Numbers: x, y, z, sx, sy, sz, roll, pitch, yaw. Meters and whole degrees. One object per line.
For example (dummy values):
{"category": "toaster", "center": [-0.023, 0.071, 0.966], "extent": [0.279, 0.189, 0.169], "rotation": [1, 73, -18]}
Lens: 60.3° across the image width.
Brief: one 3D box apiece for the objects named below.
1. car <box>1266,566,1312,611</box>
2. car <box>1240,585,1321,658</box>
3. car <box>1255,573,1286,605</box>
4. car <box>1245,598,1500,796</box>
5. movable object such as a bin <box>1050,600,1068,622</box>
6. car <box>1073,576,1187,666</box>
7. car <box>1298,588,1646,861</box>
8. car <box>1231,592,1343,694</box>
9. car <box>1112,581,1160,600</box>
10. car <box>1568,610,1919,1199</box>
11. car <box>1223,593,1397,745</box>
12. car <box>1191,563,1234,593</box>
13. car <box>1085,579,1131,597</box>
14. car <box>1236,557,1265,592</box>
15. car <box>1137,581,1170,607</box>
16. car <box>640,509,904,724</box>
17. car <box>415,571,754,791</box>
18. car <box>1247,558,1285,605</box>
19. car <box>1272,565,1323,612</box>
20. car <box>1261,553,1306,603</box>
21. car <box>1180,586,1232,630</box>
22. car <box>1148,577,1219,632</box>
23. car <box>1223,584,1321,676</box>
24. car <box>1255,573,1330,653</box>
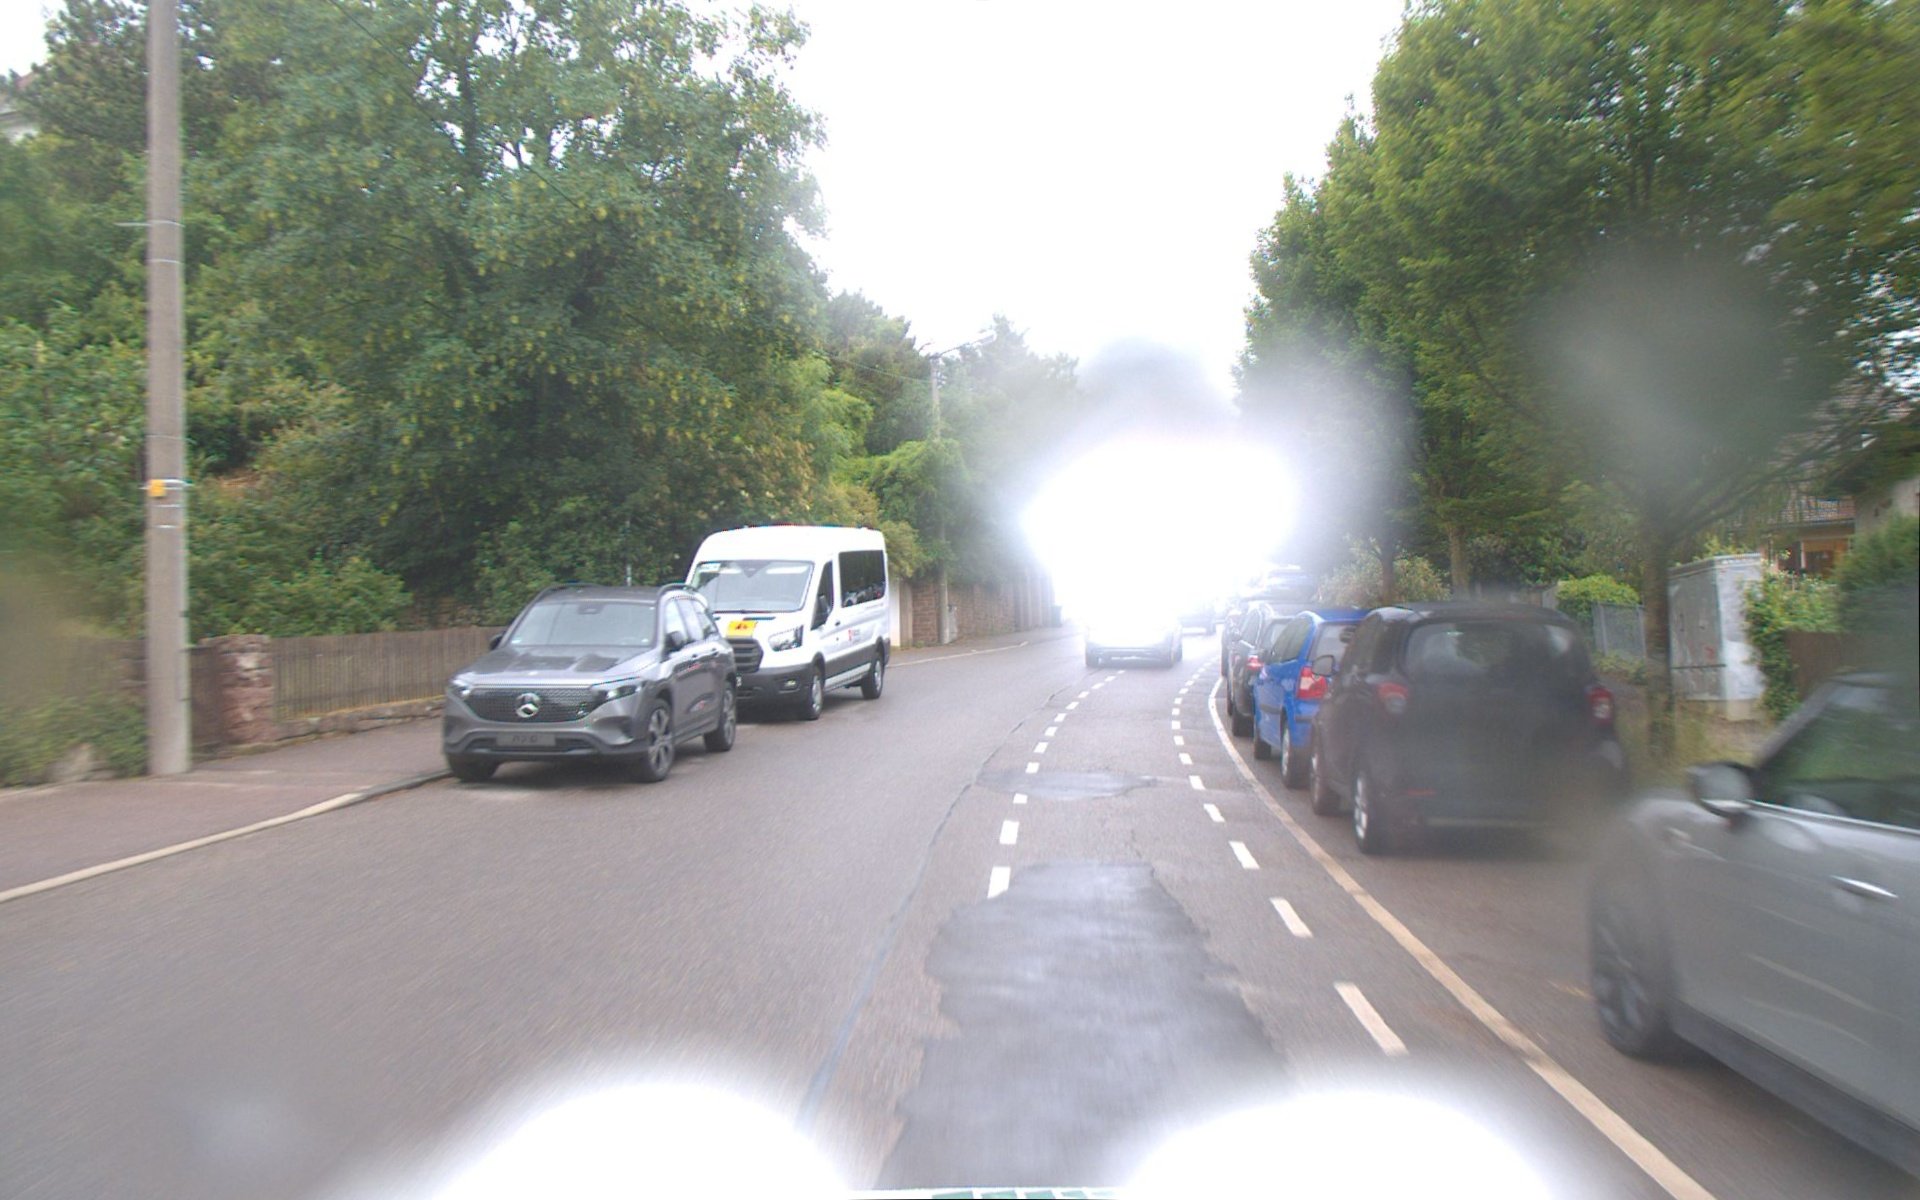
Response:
{"category": "car", "center": [15.987, -0.554, 80.581], "extent": [1.951, 2.088, 5.126], "rotation": [0, 0, 8]}
{"category": "car", "center": [7.188, 0.432, 36.890], "extent": [1.613, 1.507, 4.023], "rotation": [0, 1, 13]}
{"category": "car", "center": [18.925, -0.695, 100.942], "extent": [1.690, 1.816, 4.279], "rotation": [2, 1, 9]}
{"category": "car", "center": [3.650, 0.773, 15.260], "extent": [1.619, 1.546, 4.002], "rotation": [1, 0, 4]}
{"category": "movable object such as a bin", "center": [4.299, 0.482, 71.802], "extent": [0.644, 0.935, 0.678], "rotation": [-1, 0, 11]}
{"category": "car", "center": [3.570, 0.423, 34.168], "extent": [1.982, 1.738, 4.219], "rotation": [0, 0, 11]}
{"category": "car", "center": [3.322, 0.728, 11.261], "extent": [1.592, 1.590, 3.024], "rotation": [0, 0, 3]}
{"category": "car", "center": [5.183, 0.625, 26.613], "extent": [1.608, 1.449, 4.291], "rotation": [1, 1, 9]}
{"category": "car", "center": [16.781, -0.897, 158.012], "extent": [1.953, 1.727, 4.430], "rotation": [0, 1, -40]}
{"category": "car", "center": [3.130, 0.805, 4.548], "extent": [1.634, 1.497, 3.711], "rotation": [1, 0, 2]}
{"category": "car", "center": [4.147, 0.730, 20.207], "extent": [1.738, 1.580, 4.732], "rotation": [1, 1, 8]}
{"category": "car", "center": [22.286, -1.930, 146.063], "extent": [2.091, 2.571, 4.477], "rotation": [0, 1, -16]}
{"category": "car", "center": [14.404, -1.180, 161.226], "extent": [1.949, 1.727, 4.609], "rotation": [0, 1, -37]}
{"category": "car", "center": [21.523, -1.869, 122.703], "extent": [2.020, 2.538, 4.764], "rotation": [1, 1, 8]}
{"category": "car", "center": [11.129, -0.357, 94.935], "extent": [1.711, 1.381, 4.429], "rotation": [-3, 1, 7]}
{"category": "car", "center": [-2.405, 0.161, 23.180], "extent": [2.049, 2.594, 6.103], "rotation": [-1, 1, 9]}
{"category": "car", "center": [-3.288, 0.640, 15.468], "extent": [1.856, 1.721, 4.547], "rotation": [-1, 0, 3]}
{"category": "car", "center": [19.807, -1.218, 107.105], "extent": [2.079, 2.937, 5.774], "rotation": [1, 1, 7]}
{"category": "car", "center": [13.718, -0.486, 67.490], "extent": [1.742, 1.814, 4.683], "rotation": [-1, 1, 8]}
{"category": "car", "center": [17.182, -1.196, 88.073], "extent": [2.127, 2.536, 6.039], "rotation": [1, 1, 9]}
{"category": "car", "center": [10.052, 0.315, 67.365], "extent": [1.951, 1.738, 4.003], "rotation": [0, 0, 10]}
{"category": "car", "center": [7.252, 0.157, 54.004], "extent": [1.952, 1.738, 4.001], "rotation": [0, 0, 3]}
{"category": "car", "center": [5.994, 0.512, 31.643], "extent": [1.677, 1.583, 4.168], "rotation": [1, 1, 11]}
{"category": "car", "center": [8.401, 0.268, 41.736], "extent": [1.740, 1.884, 4.429], "rotation": [0, 1, 12]}
